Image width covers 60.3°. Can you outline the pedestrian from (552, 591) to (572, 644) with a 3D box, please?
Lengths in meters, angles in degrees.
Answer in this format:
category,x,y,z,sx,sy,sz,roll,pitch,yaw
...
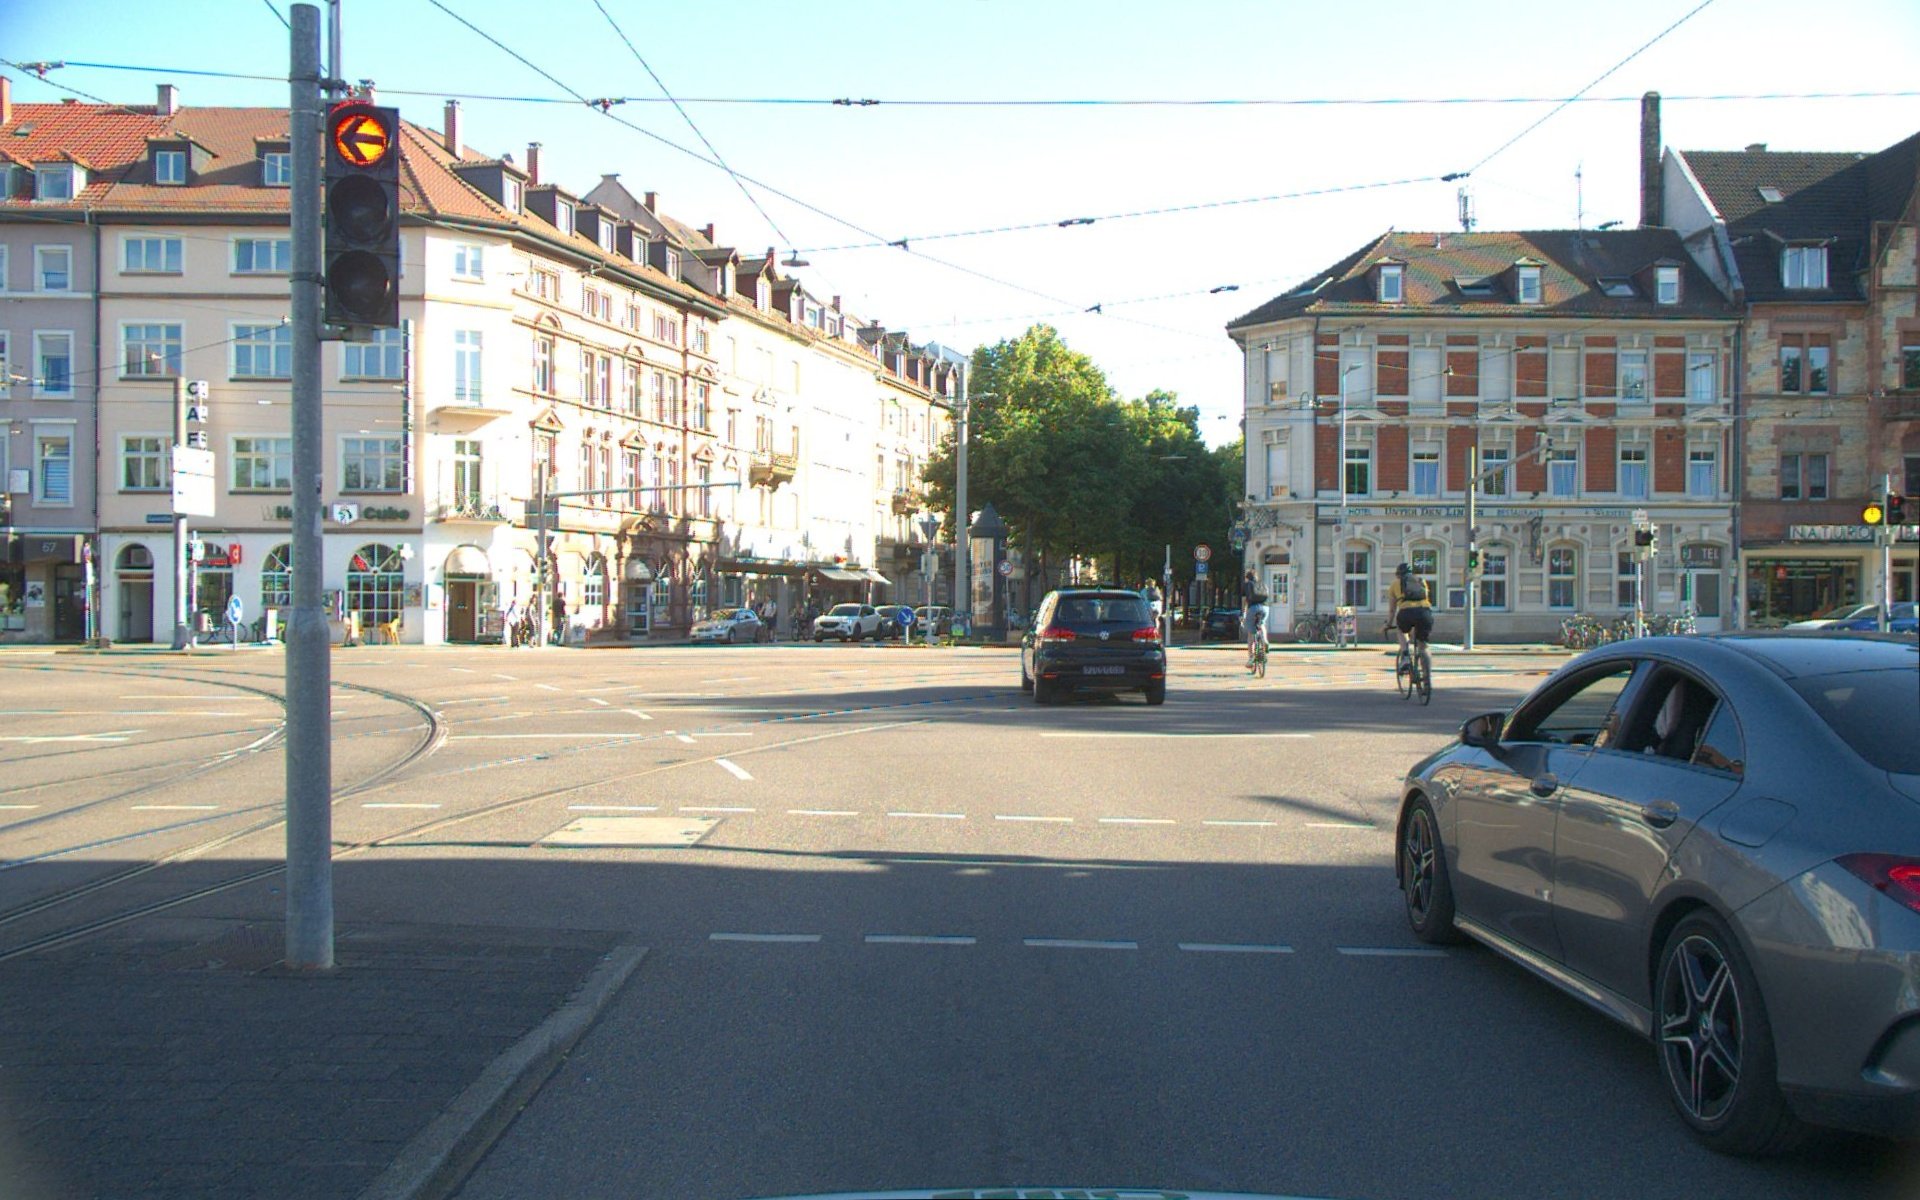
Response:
category,x,y,z,sx,sy,sz,roll,pitch,yaw
pedestrian,-14.423,0.634,59.939,0.454,1.914,0.635,1,-1,10

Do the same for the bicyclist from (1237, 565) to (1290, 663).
category,x,y,z,sx,sy,sz,roll,pitch,yaw
bicyclist,5.209,0.239,28.425,0.789,1.634,0.884,1,-1,5

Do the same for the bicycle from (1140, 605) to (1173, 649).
category,x,y,z,sx,sy,sz,roll,pitch,yaw
bicycle,4.827,0.663,40.600,0.635,1.049,1.772,1,0,12

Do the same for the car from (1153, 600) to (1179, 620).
category,x,y,z,sx,sy,sz,roll,pitch,yaw
car,16.860,0.837,135.087,1.526,1.540,3.658,1,0,16

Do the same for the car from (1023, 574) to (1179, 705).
category,x,y,z,sx,sy,sz,roll,pitch,yaw
car,1.821,0.455,22.517,1.693,1.534,4.050,1,2,-1

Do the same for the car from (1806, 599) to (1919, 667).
category,x,y,z,sx,sy,sz,roll,pitch,yaw
car,25.926,0.923,46.045,3.706,1.809,1.999,1,0,-2

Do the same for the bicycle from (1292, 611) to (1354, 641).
category,x,y,z,sx,sy,sz,roll,pitch,yaw
bicycle,12.563,0.892,57.286,2.006,1.015,0.631,0,-1,2

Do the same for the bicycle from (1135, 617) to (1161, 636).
category,x,y,z,sx,sy,sz,roll,pitch,yaw
bicycle,11.281,1.571,99.220,0.619,1.104,1.685,1,0,-31

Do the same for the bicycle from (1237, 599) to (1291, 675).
category,x,y,z,sx,sy,sz,roll,pitch,yaw
bicycle,5.236,0.631,28.533,0.739,1.258,1.704,1,0,5

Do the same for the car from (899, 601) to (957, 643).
category,x,y,z,sx,sy,sz,roll,pitch,yaw
car,-1.515,1.068,79.761,1.951,1.937,4.003,1,0,11

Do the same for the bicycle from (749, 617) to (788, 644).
category,x,y,z,sx,sy,sz,roll,pitch,yaw
bicycle,-7.531,1.206,65.156,0.746,1.025,2.398,1,0,13

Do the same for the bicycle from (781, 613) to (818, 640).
category,x,y,z,sx,sy,sz,roll,pitch,yaw
bicycle,-6.802,1.121,70.287,0.637,1.142,2.253,1,0,20

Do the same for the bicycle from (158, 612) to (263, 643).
category,x,y,z,sx,sy,sz,roll,pitch,yaw
bicycle,-25.519,0.942,56.349,3.066,0.997,1.001,1,0,-1

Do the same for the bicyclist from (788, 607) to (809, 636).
category,x,y,z,sx,sy,sz,roll,pitch,yaw
bicyclist,-6.845,0.923,70.170,0.618,1.205,0.685,1,-1,20

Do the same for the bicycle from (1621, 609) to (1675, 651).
category,x,y,z,sx,sy,sz,roll,pitch,yaw
bicycle,22.081,0.959,53.148,0.615,1.309,2.661,1,0,0

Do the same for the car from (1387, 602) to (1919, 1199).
category,x,y,z,sx,sy,sz,roll,pitch,yaw
car,3.016,0.753,5.830,1.868,1.444,4.492,1,0,0

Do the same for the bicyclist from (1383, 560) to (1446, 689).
category,x,y,z,sx,sy,sz,roll,pitch,yaw
bicyclist,6.137,0.322,22.319,0.789,1.692,0.884,1,-1,16

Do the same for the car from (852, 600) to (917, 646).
category,x,y,z,sx,sy,sz,roll,pitch,yaw
car,-3.322,1.011,73.512,1.951,1.937,4.003,1,0,11

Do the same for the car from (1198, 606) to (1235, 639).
category,x,y,z,sx,sy,sz,roll,pitch,yaw
car,12.867,1.119,82.773,1.655,1.592,3.844,1,0,11

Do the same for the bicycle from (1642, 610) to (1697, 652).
category,x,y,z,sx,sy,sz,roll,pitch,yaw
bicycle,22.796,0.969,53.172,0.615,1.309,2.661,1,0,0

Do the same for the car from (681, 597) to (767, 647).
category,x,y,z,sx,sy,sz,roll,pitch,yaw
car,-9.517,0.877,66.958,1.951,1.937,4.002,1,0,17

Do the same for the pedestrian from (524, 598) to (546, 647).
category,x,y,z,sx,sy,sz,roll,pitch,yaw
pedestrian,-14.649,0.771,57.023,0.620,1.662,0.700,1,-1,-4

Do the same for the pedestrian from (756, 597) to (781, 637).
category,x,y,z,sx,sy,sz,roll,pitch,yaw
pedestrian,-7.543,0.667,65.085,0.803,1.539,0.598,1,-1,14

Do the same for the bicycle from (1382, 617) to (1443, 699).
category,x,y,z,sx,sy,sz,roll,pitch,yaw
bicycle,6.176,0.762,22.528,0.739,1.049,1.781,1,0,17

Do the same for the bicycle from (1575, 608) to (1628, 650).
category,x,y,z,sx,sy,sz,roll,pitch,yaw
bicycle,20.593,0.923,53.124,0.678,1.309,2.661,1,0,0

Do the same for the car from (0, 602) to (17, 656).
category,x,y,z,sx,sy,sz,roll,pitch,yaw
car,-32.389,0.913,52.428,3.902,1.699,2.002,0,0,8

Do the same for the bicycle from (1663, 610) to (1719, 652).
category,x,y,z,sx,sy,sz,roll,pitch,yaw
bicycle,23.480,0.982,53.171,0.615,1.309,2.661,1,0,0

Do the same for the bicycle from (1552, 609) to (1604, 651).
category,x,y,z,sx,sy,sz,roll,pitch,yaw
bicycle,19.825,0.945,53.136,0.678,1.309,2.661,1,0,0

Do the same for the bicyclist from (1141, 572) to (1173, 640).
category,x,y,z,sx,sy,sz,roll,pitch,yaw
bicyclist,4.851,0.146,40.678,0.675,1.662,0.884,1,-1,12

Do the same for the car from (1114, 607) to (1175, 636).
category,x,y,z,sx,sy,sz,roll,pitch,yaw
car,12.850,1.465,115.149,3.902,1.937,2.001,1,0,15

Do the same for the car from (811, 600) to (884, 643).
category,x,y,z,sx,sy,sz,roll,pitch,yaw
car,-4.545,0.863,67.311,1.951,1.646,4.003,1,0,11

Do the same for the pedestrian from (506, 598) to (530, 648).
category,x,y,z,sx,sy,sz,roll,pitch,yaw
pedestrian,-14.863,0.780,55.669,0.620,1.662,0.700,1,-1,-4

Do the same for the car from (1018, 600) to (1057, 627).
category,x,y,z,sx,sy,sz,roll,pitch,yaw
car,5.774,1.023,122.757,1.951,1.937,4.002,1,0,16

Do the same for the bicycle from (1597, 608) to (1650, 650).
category,x,y,z,sx,sy,sz,roll,pitch,yaw
bicycle,21.304,0.921,53.146,0.615,1.309,2.661,1,0,0
